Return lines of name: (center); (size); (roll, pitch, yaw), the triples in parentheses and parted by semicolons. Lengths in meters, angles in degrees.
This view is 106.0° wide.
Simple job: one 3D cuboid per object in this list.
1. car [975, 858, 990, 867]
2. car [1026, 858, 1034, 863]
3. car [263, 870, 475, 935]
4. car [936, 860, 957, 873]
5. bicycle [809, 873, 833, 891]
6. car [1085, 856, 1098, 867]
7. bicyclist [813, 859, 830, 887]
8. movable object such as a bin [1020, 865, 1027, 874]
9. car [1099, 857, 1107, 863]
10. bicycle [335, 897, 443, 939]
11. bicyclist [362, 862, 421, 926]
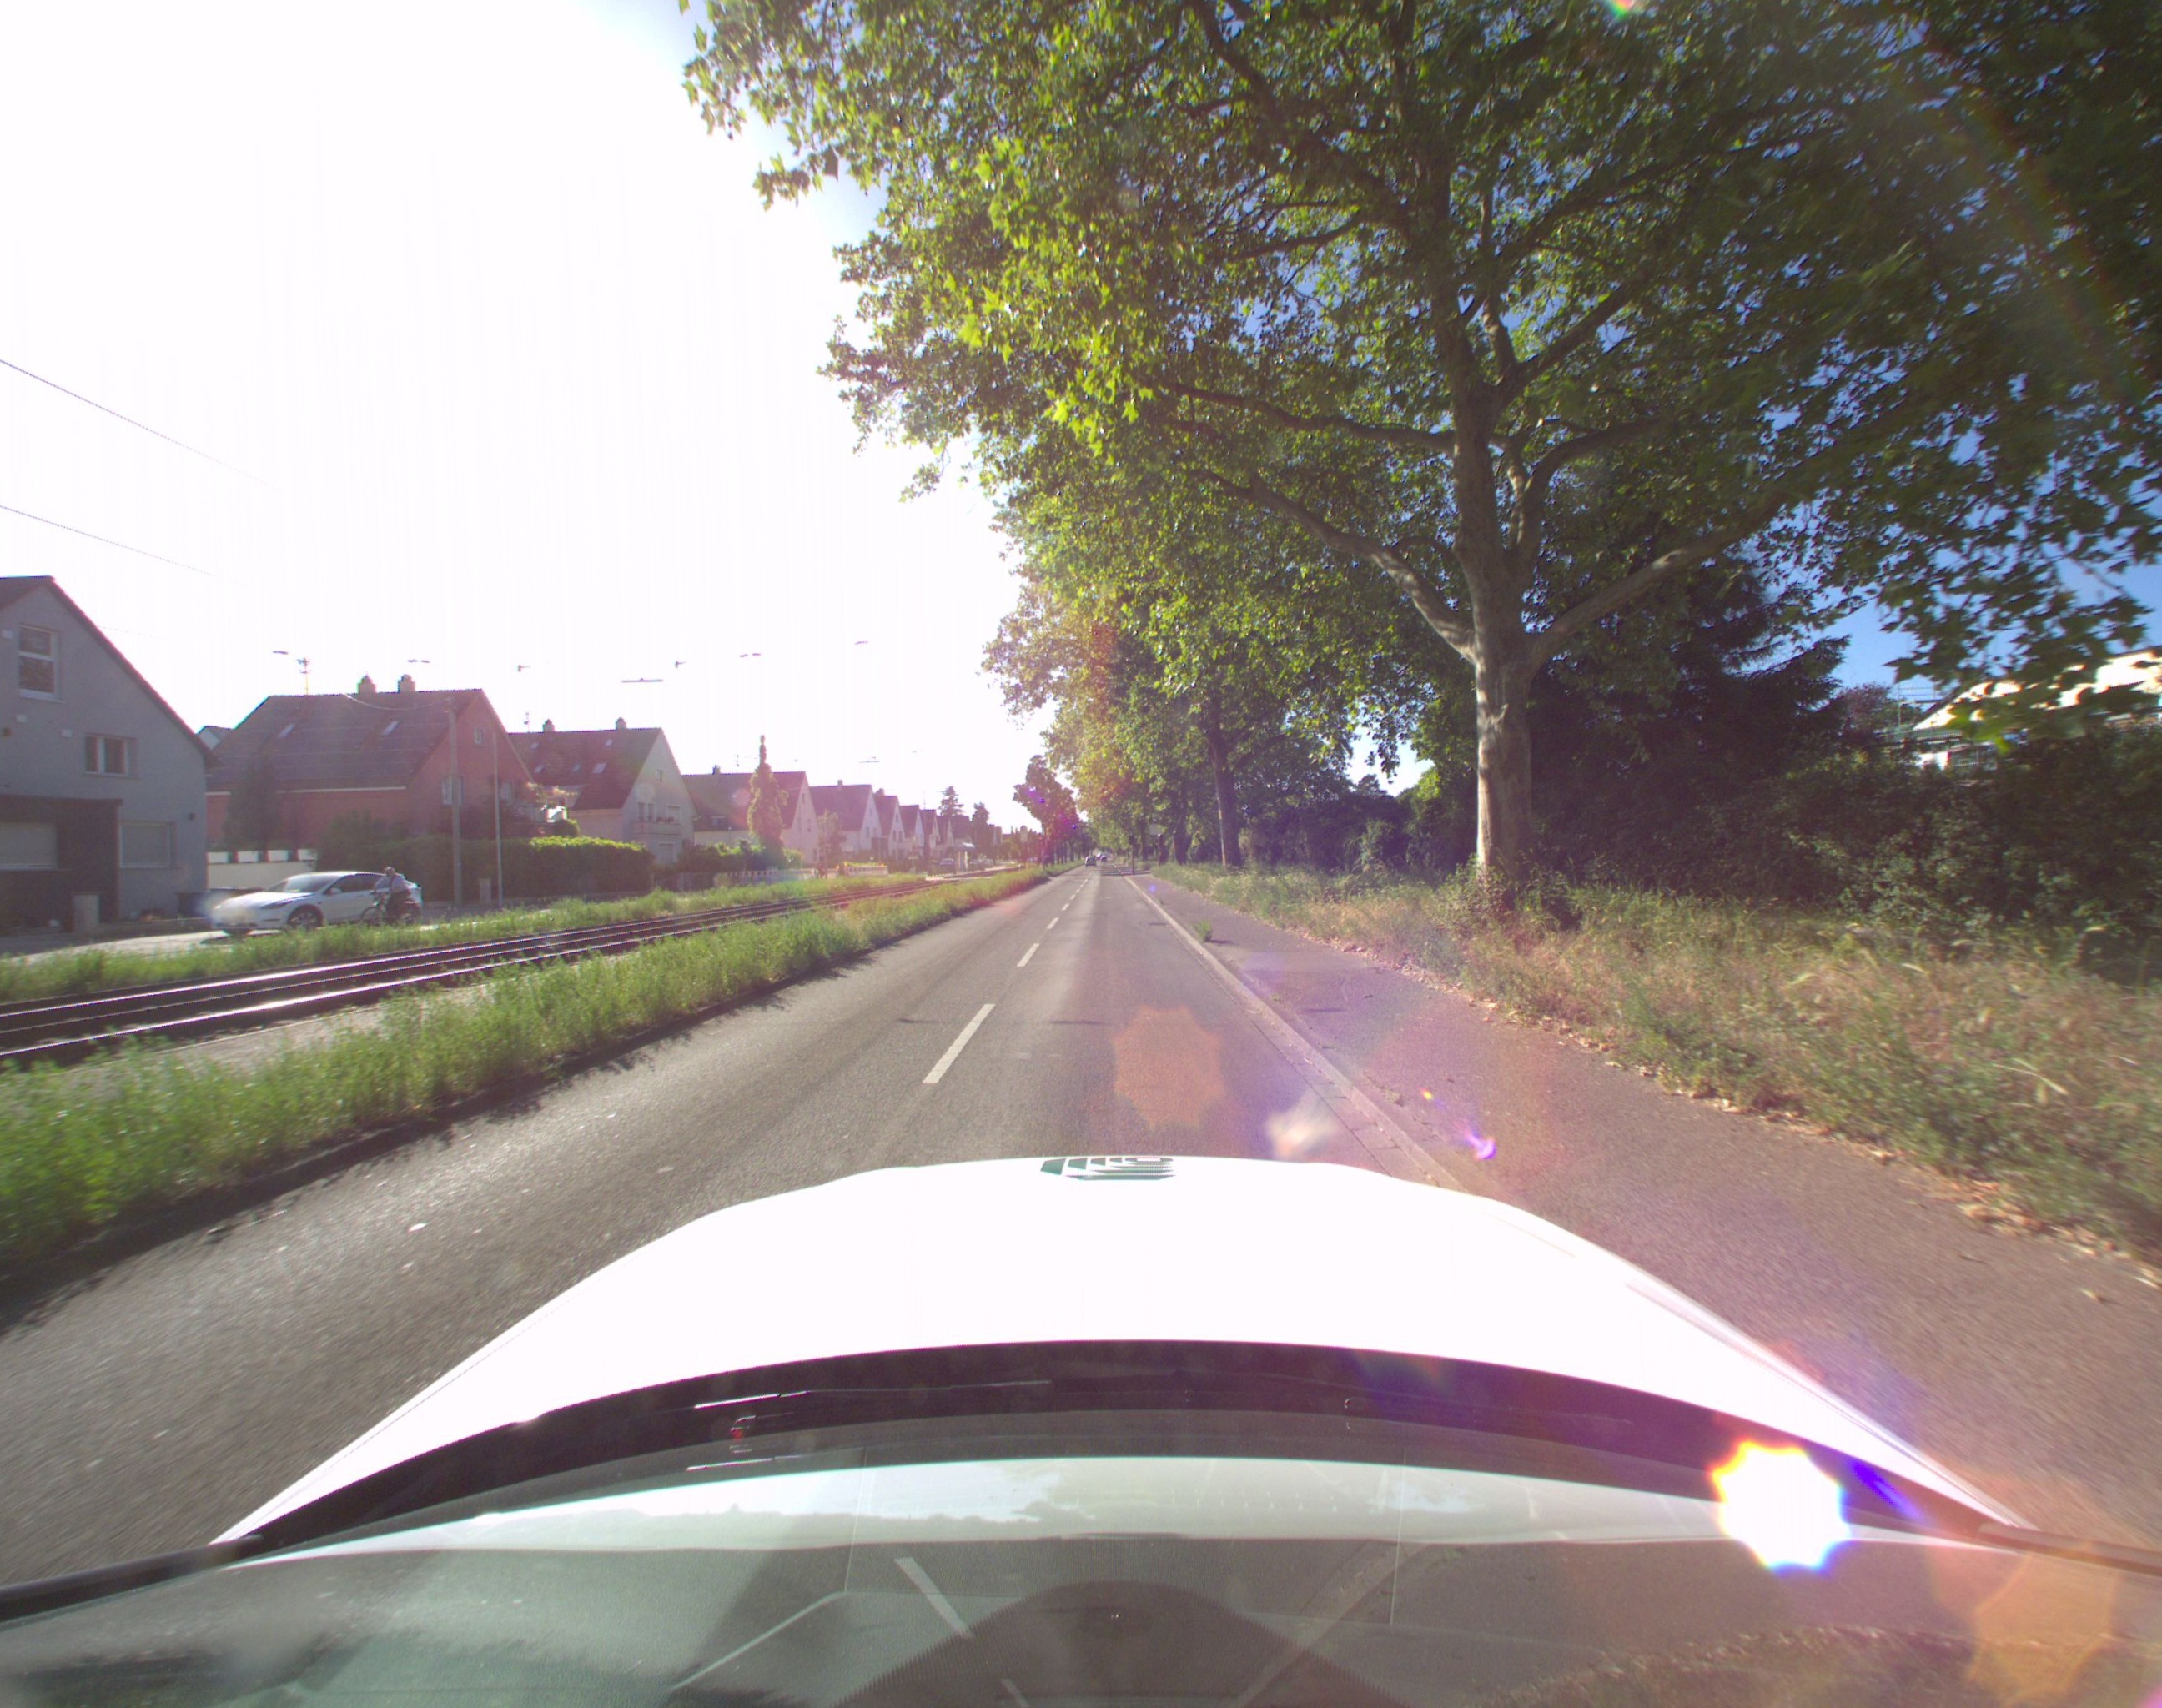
car: (-17.351, 1.477, 144.060); (1.986, 1.450, 4.129); (2, 0, 1)
car: (-14.542, 1.885, 232.457); (1.853, 1.542, 4.229); (0, -1, 1)
car: (-21.023, 1.364, 24.396); (1.986, 1.678, 4.841); (0, -1, 2)
car: (-18.462, 1.752, 111.658); (1.986, 1.713, 4.392); (0, -1, 1)
bicycle: (-17.897, 1.909, 56.092); (0.848, 1.134, 2.310); (0, -1, 2)
car: (1.587, 1.155, 122.132); (1.853, 1.601, 4.229); (0, -1, 1)
bicyclist: (-17.891, 1.321, 56.165); (0.848, 1.887, 1.072); (0, -1, 1)
movable object such as a bin: (-3.800, 1.003, 54.184); (0.384, 0.582, 0.380); (-1, -1, 10)
car: (5.214, 1.420, 192.376); (1.986, 1.603, 4.474); (0, -1, 1)
bicycle: (-18.383, 1.683, 21.713); (0.848, 0.951, 2.310); (0, -1, 2)
bicyclist: (-18.382, 1.059, 21.724); (0.848, 1.674, 0.837); (0, -1, 1)
